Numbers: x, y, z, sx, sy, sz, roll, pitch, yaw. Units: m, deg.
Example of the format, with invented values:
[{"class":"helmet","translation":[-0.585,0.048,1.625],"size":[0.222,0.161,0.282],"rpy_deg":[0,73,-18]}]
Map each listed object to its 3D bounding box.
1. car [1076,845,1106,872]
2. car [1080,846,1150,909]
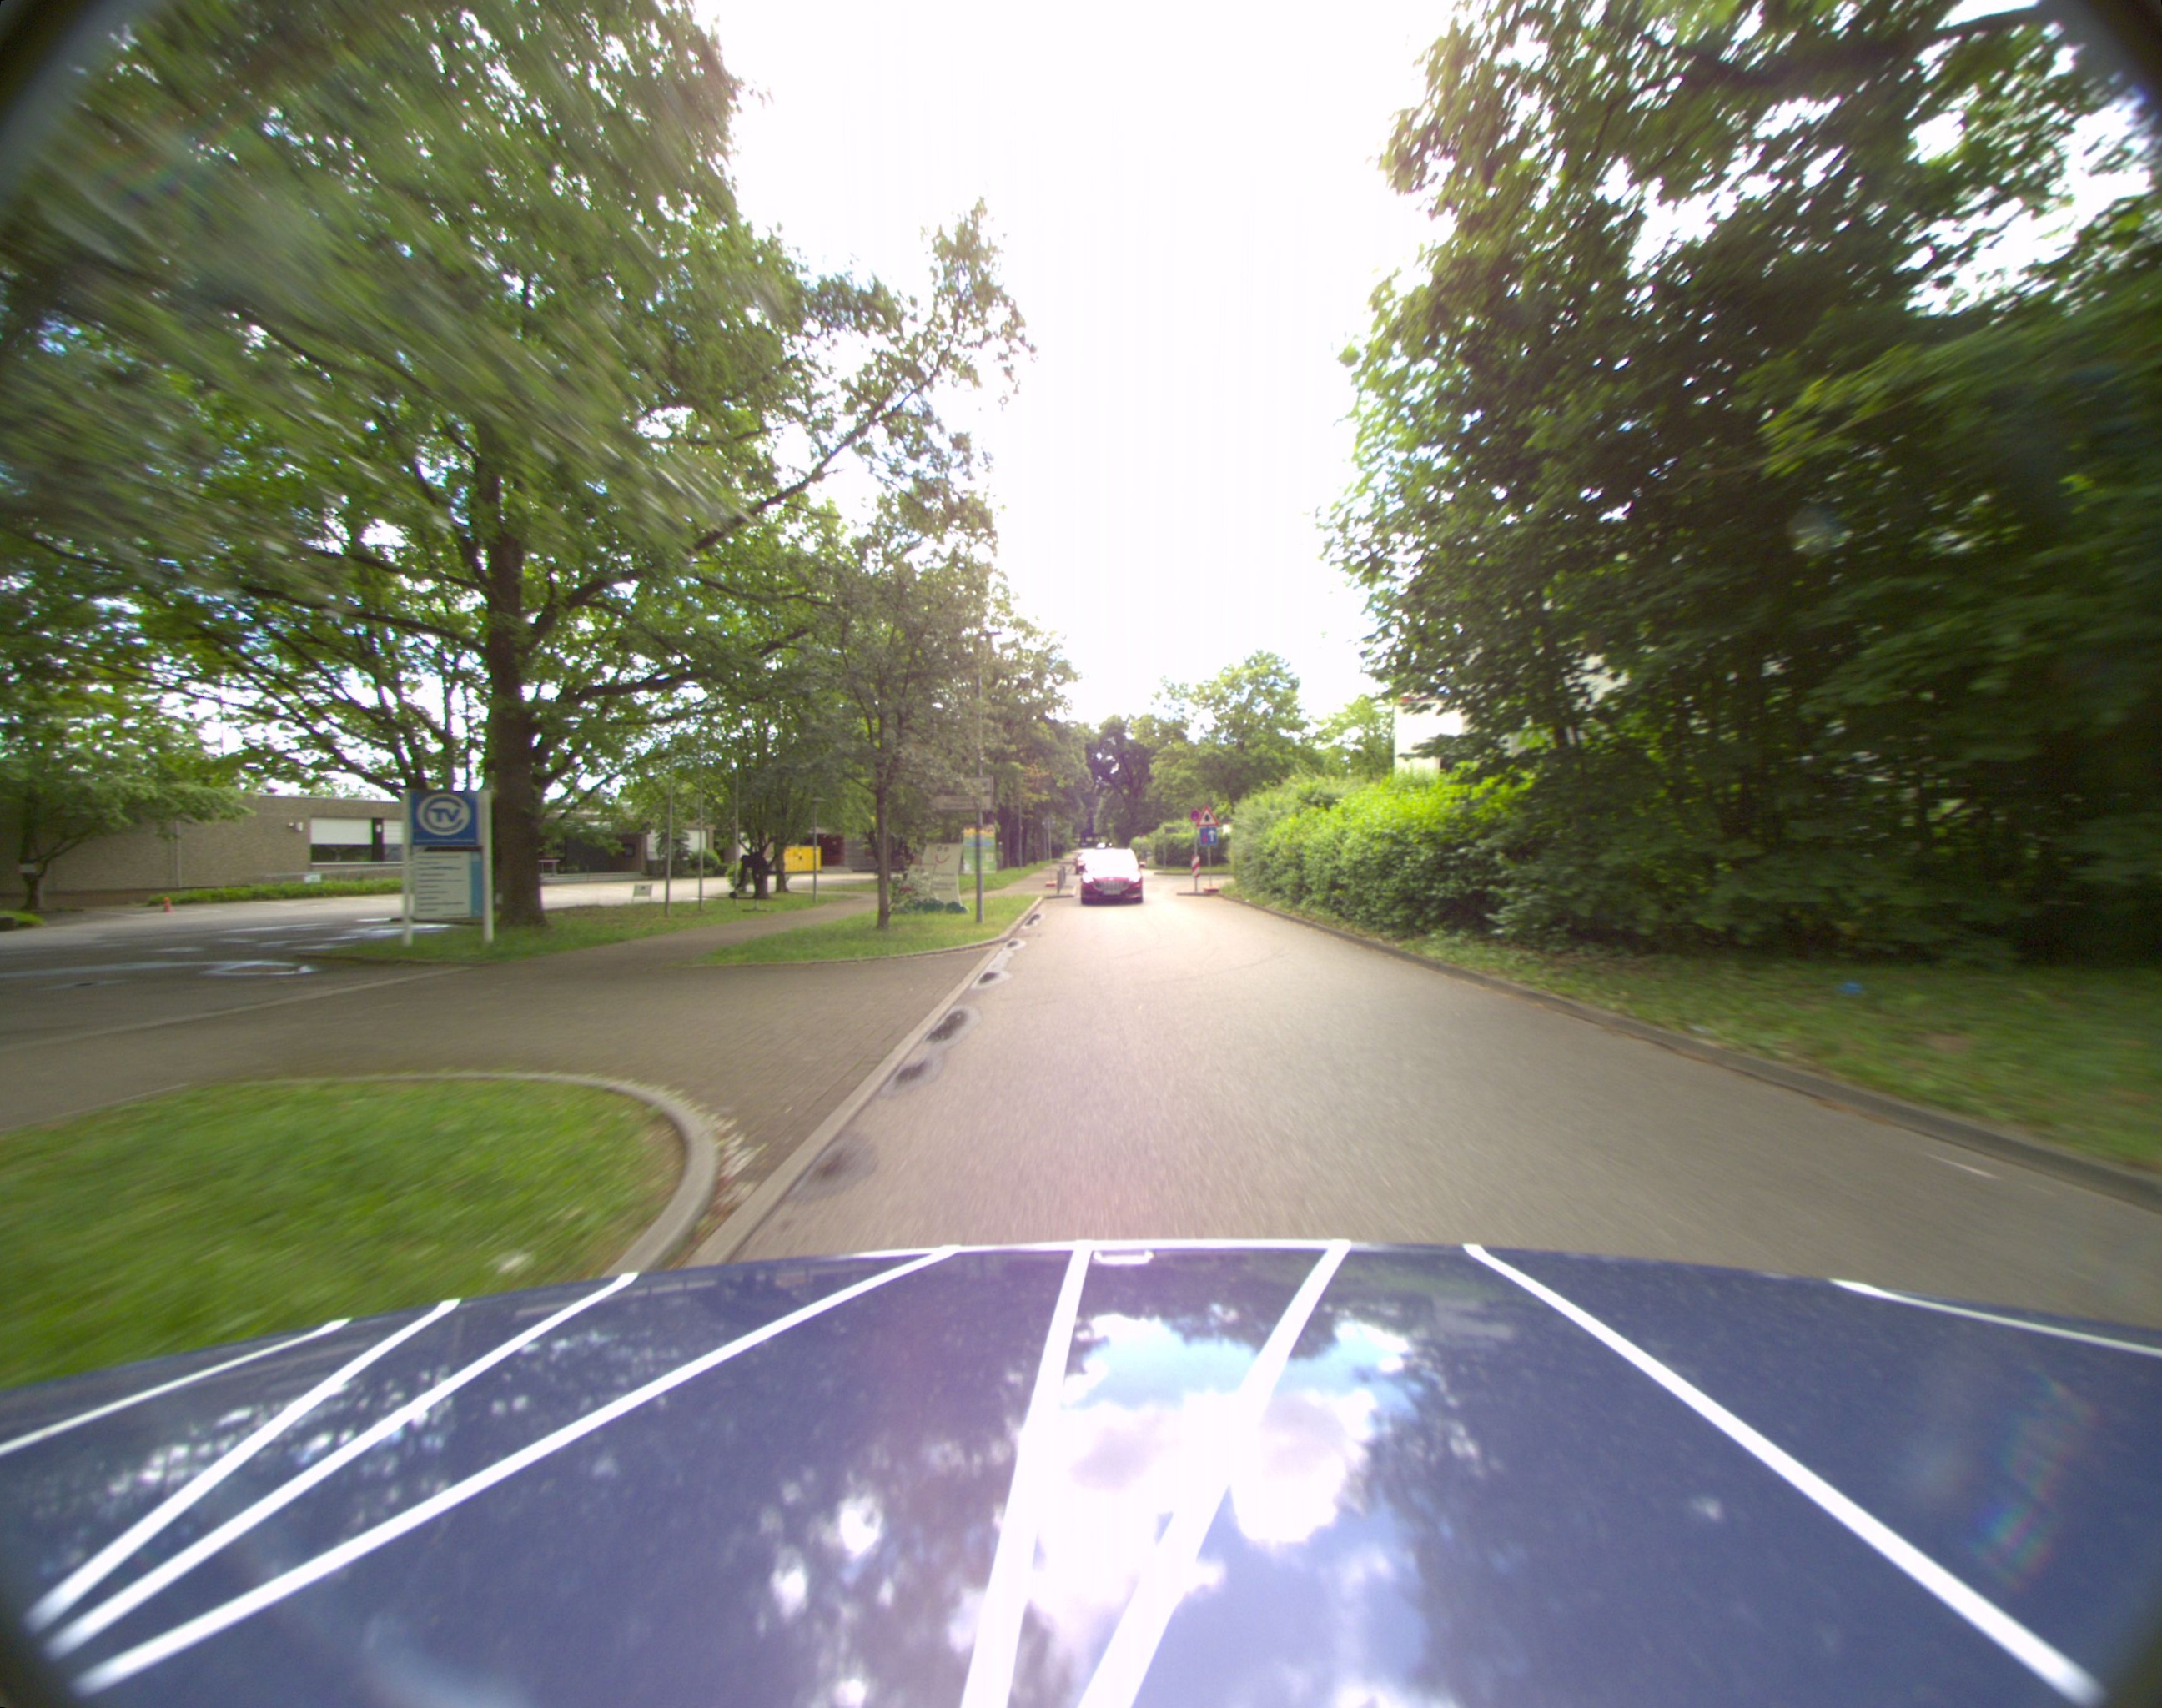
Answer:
[{"class":"car","translation":[0.654,0.305,51.505],"size":[1.918,1.707,5.038],"rpy_deg":[-1,0,0]},{"class":"car","translation":[0.951,0.642,23.716],"size":[1.918,1.707,5.038],"rpy_deg":[-1,0,0]}]
